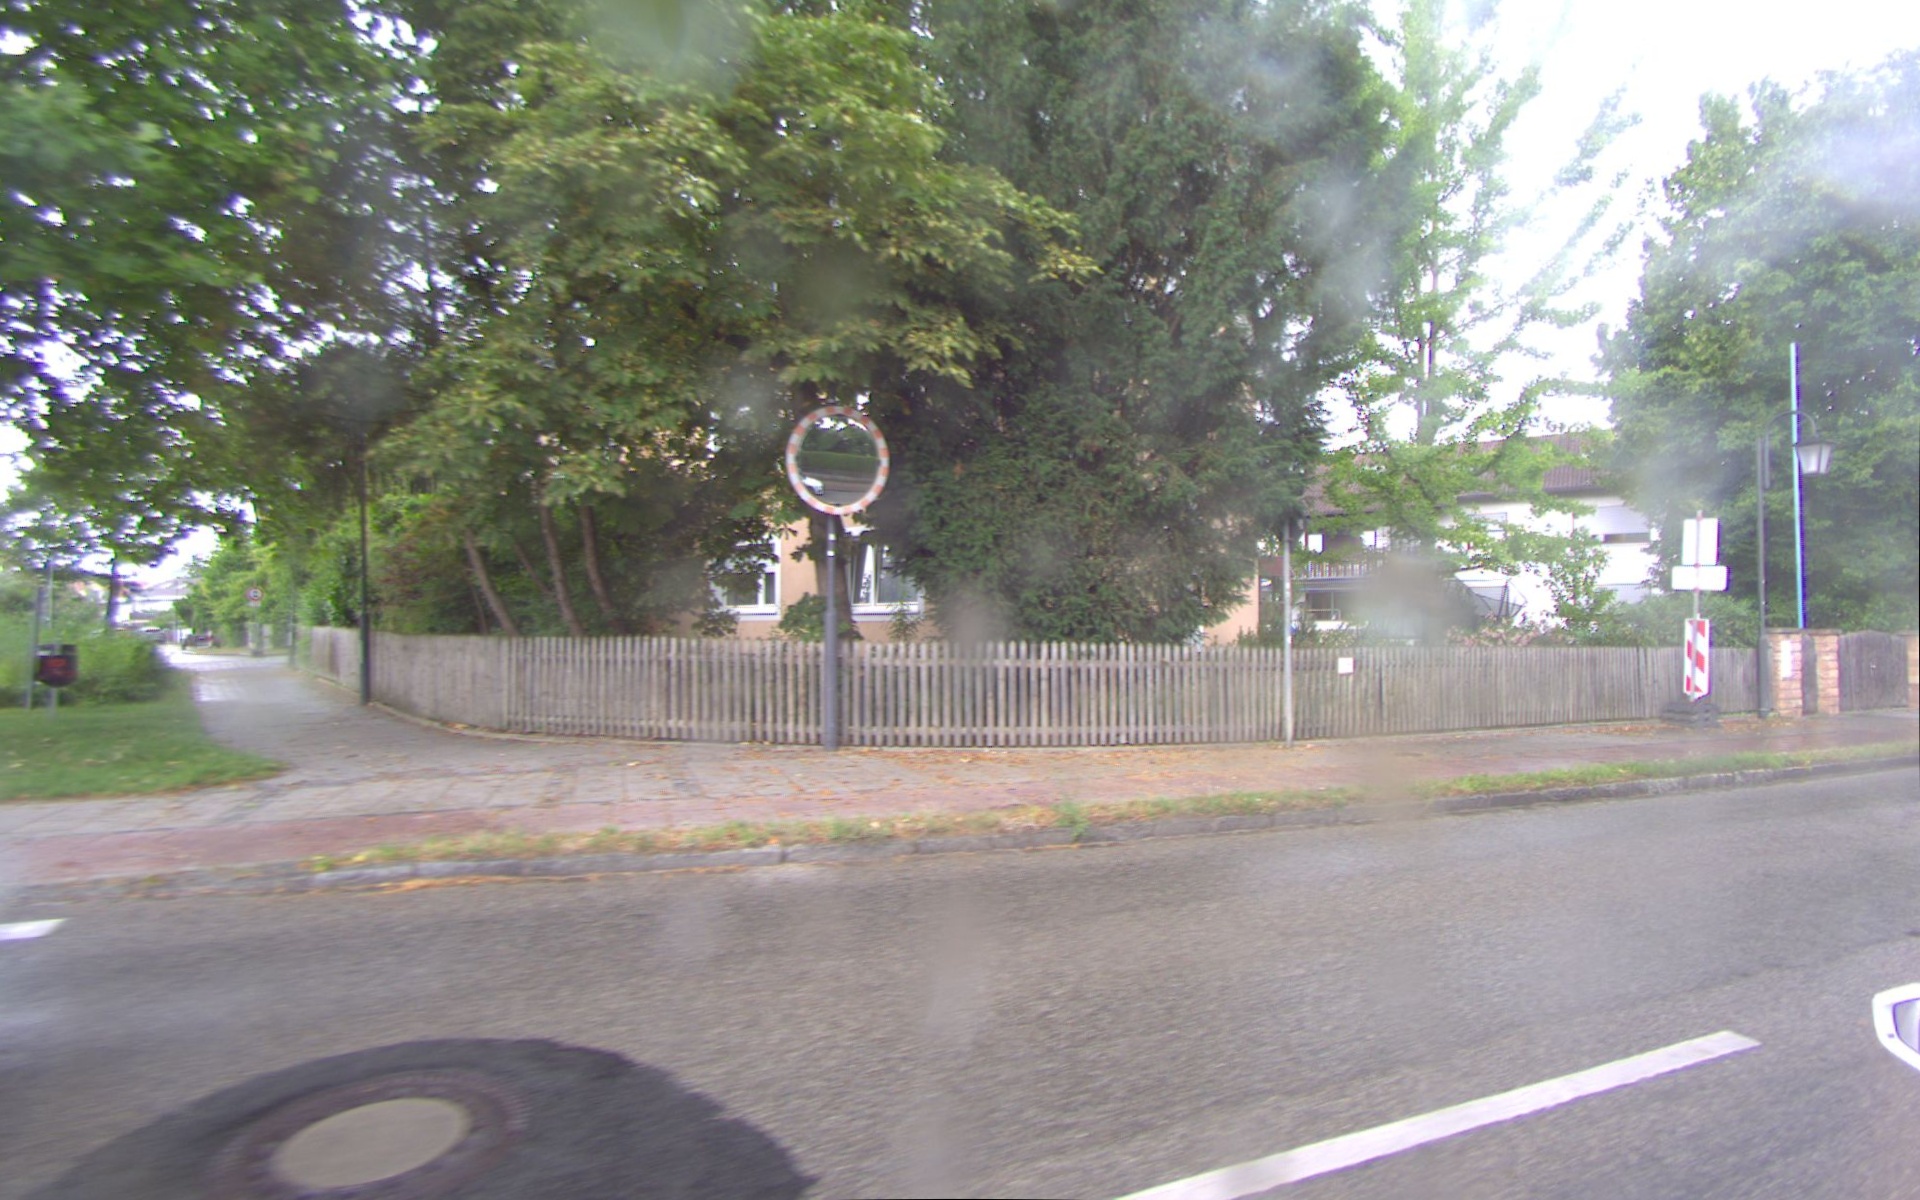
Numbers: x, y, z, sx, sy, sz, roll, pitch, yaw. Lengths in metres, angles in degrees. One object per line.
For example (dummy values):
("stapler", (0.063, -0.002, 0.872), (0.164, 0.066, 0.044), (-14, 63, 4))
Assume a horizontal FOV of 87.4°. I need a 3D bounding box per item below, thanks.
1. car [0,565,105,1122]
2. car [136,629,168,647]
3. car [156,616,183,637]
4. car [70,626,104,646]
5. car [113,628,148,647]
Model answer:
("car", (-4.065, 0.579, 1.718), (3.624, 1.463, 1.612), (2, -1, -27))
("car", (-73.126, 3.459, 90.854), (1.986, 1.461, 3.949), (2, -1, -43))
("car", (-84.955, 2.843, 107.931), (1.985, 2.040, 3.951), (2, 0, -41))
("car", (-70.891, 2.942, 81.532), (1.986, 1.461, 3.949), (2, -1, -43))
("car", (-71.326, 3.215, 86.363), (1.987, 1.461, 3.947), (2, -1, -44))
